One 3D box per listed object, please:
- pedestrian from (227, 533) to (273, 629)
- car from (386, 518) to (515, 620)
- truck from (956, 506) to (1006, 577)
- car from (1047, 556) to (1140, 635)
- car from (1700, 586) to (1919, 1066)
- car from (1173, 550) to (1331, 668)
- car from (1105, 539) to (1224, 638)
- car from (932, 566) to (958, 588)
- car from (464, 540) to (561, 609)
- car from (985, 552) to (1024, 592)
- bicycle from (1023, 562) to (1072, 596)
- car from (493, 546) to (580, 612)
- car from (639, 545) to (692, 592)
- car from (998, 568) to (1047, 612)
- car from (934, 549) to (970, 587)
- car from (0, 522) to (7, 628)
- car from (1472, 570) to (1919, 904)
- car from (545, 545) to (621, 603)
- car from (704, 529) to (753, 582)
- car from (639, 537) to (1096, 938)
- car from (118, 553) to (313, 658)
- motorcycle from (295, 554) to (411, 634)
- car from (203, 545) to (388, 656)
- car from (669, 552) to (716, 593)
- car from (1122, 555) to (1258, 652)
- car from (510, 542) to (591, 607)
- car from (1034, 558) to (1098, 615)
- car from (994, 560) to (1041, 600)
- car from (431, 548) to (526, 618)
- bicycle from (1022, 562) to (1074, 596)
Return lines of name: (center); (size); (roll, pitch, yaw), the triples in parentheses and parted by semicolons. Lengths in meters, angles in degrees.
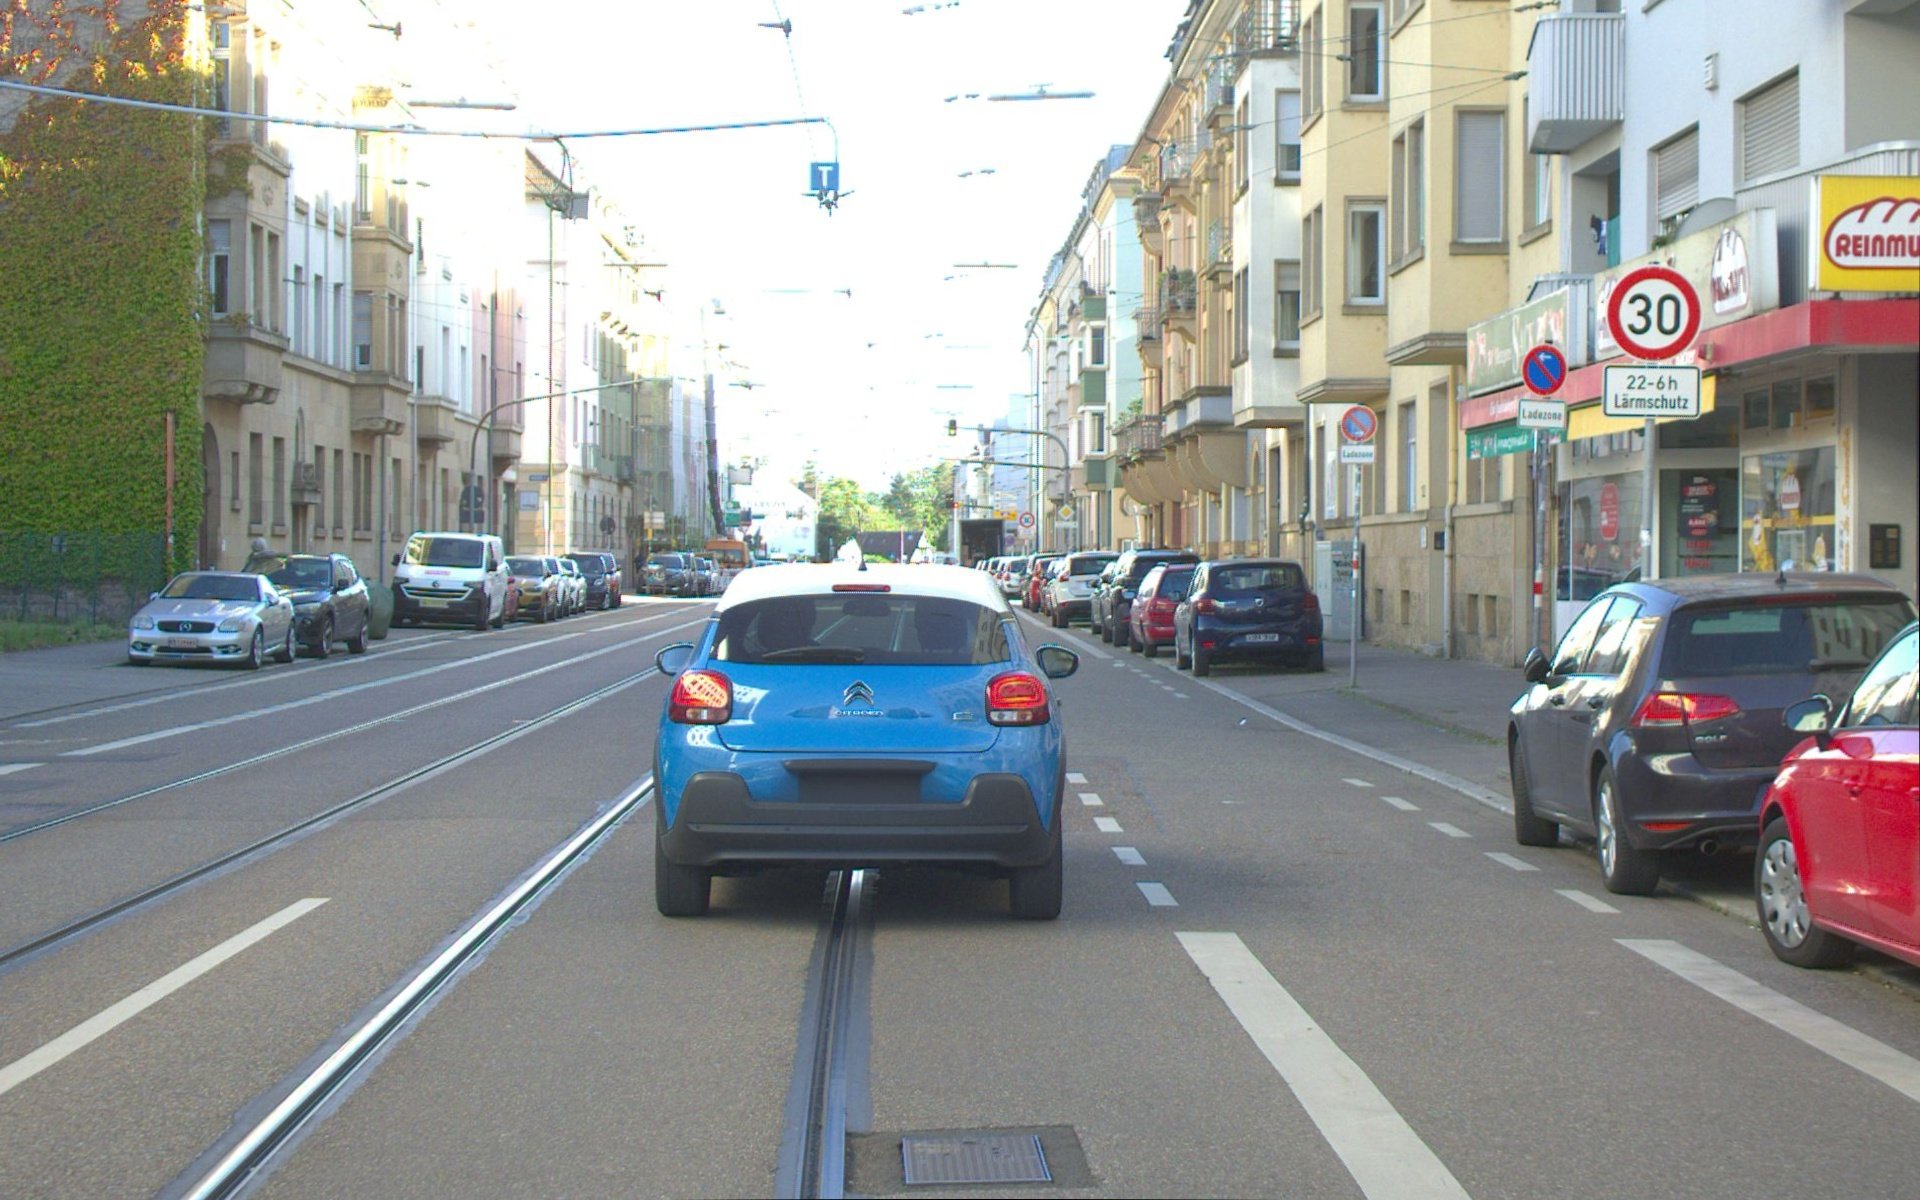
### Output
pedestrian: (-12.829, -0.347, 62.130); (0.679, 1.718, 0.616); (1, 0, 0)
car: (-10.491, -0.651, 71.117); (1.973, 1.942, 5.252); (2, 1, -2)
truck: (1.272, -3.424, 203.165); (2.853, 4.069, 11.271); (0, 1, 0)
car: (2.964, -0.122, 77.161); (1.843, 1.685, 4.505); (1, 1, 0)
car: (3.950, 0.696, 12.019); (1.857, 1.468, 3.988); (-2, 1, 1)
car: (3.832, 0.094, 45.700); (1.718, 1.486, 4.002); (-1, 1, 0)
car: (3.579, -0.223, 60.735); (1.859, 1.660, 4.561); (1, 1, 1)
car: (-1.030, -1.574, 236.330); (1.765, 1.481, 4.031); (0, 1, 0)
car: (-10.525, -0.608, 81.125); (1.783, 1.518, 4.360); (2, 1, -2)
car: (2.054, -1.310, 161.355); (1.730, 1.821, 4.686); (0, 1, 0)
bicycle: (3.204, -0.774, 126.355); (1.722, 1.150, 0.469); (-3, 1, 0)
car: (-10.612, -0.552, 86.418); (1.771, 1.541, 4.366); (2, 1, -3)
car: (-11.338, -1.230, 132.448); (1.783, 1.684, 4.668); (2, 1, -3)
car: (2.397, -0.400, 132.165); (1.783, 1.626, 4.000); (0, 1, 0)
car: (-0.412, -1.689, 180.218); (1.821, 1.888, 4.000); (1, 1, -1)
car: (-16.082, -0.390, 48.290); (4.781, 1.513, 2.000); (1, 1, -34)
car: (3.765, 0.586, 17.334); (1.710, 1.402, 4.358); (-2, 1, 1)
car: (-10.675, -0.745, 97.431); (1.783, 1.547, 3.019); (2, 1, -1)
car: (-11.226, -2.167, 167.097); (2.144, 2.467, 4.981); (2, 1, -3)
car: (-0.379, 0.517, 15.505); (1.735, 1.502, 3.992); (2, 1, 0)
car: (-10.247, 0.050, 47.581); (1.783, 1.309, 4.221); (2, 1, -1)
motorcycle: (-10.501, -0.103, 59.536); (0.885, 1.346, 1.954); (2, 1, 32)
car: (-10.139, -0.015, 52.767); (1.783, 1.560, 4.610); (2, 1, 1)
car: (-11.165, -1.174, 143.659); (1.783, 1.621, 4.610); (2, 1, -3)
car: (3.585, 0.022, 54.271); (1.859, 1.450, 4.710); (1, 1, 1)
car: (-10.894, -0.688, 91.615); (1.783, 1.616, 4.180); (2, 1, -3)
car: (3.032, -0.414, 98.676); (1.753, 1.589, 3.729); (1, 1, 1)
car: (2.286, -0.817, 138.145); (1.783, 1.570, 4.326); (0, 1, 0)
car: (-10.694, -0.390, 76.547); (1.602, 1.467, 3.646); (2, 1, -1)
bicycle: (3.203, -0.765, 124.991); (1.842, 1.150, 0.469); (-3, 1, 0)
